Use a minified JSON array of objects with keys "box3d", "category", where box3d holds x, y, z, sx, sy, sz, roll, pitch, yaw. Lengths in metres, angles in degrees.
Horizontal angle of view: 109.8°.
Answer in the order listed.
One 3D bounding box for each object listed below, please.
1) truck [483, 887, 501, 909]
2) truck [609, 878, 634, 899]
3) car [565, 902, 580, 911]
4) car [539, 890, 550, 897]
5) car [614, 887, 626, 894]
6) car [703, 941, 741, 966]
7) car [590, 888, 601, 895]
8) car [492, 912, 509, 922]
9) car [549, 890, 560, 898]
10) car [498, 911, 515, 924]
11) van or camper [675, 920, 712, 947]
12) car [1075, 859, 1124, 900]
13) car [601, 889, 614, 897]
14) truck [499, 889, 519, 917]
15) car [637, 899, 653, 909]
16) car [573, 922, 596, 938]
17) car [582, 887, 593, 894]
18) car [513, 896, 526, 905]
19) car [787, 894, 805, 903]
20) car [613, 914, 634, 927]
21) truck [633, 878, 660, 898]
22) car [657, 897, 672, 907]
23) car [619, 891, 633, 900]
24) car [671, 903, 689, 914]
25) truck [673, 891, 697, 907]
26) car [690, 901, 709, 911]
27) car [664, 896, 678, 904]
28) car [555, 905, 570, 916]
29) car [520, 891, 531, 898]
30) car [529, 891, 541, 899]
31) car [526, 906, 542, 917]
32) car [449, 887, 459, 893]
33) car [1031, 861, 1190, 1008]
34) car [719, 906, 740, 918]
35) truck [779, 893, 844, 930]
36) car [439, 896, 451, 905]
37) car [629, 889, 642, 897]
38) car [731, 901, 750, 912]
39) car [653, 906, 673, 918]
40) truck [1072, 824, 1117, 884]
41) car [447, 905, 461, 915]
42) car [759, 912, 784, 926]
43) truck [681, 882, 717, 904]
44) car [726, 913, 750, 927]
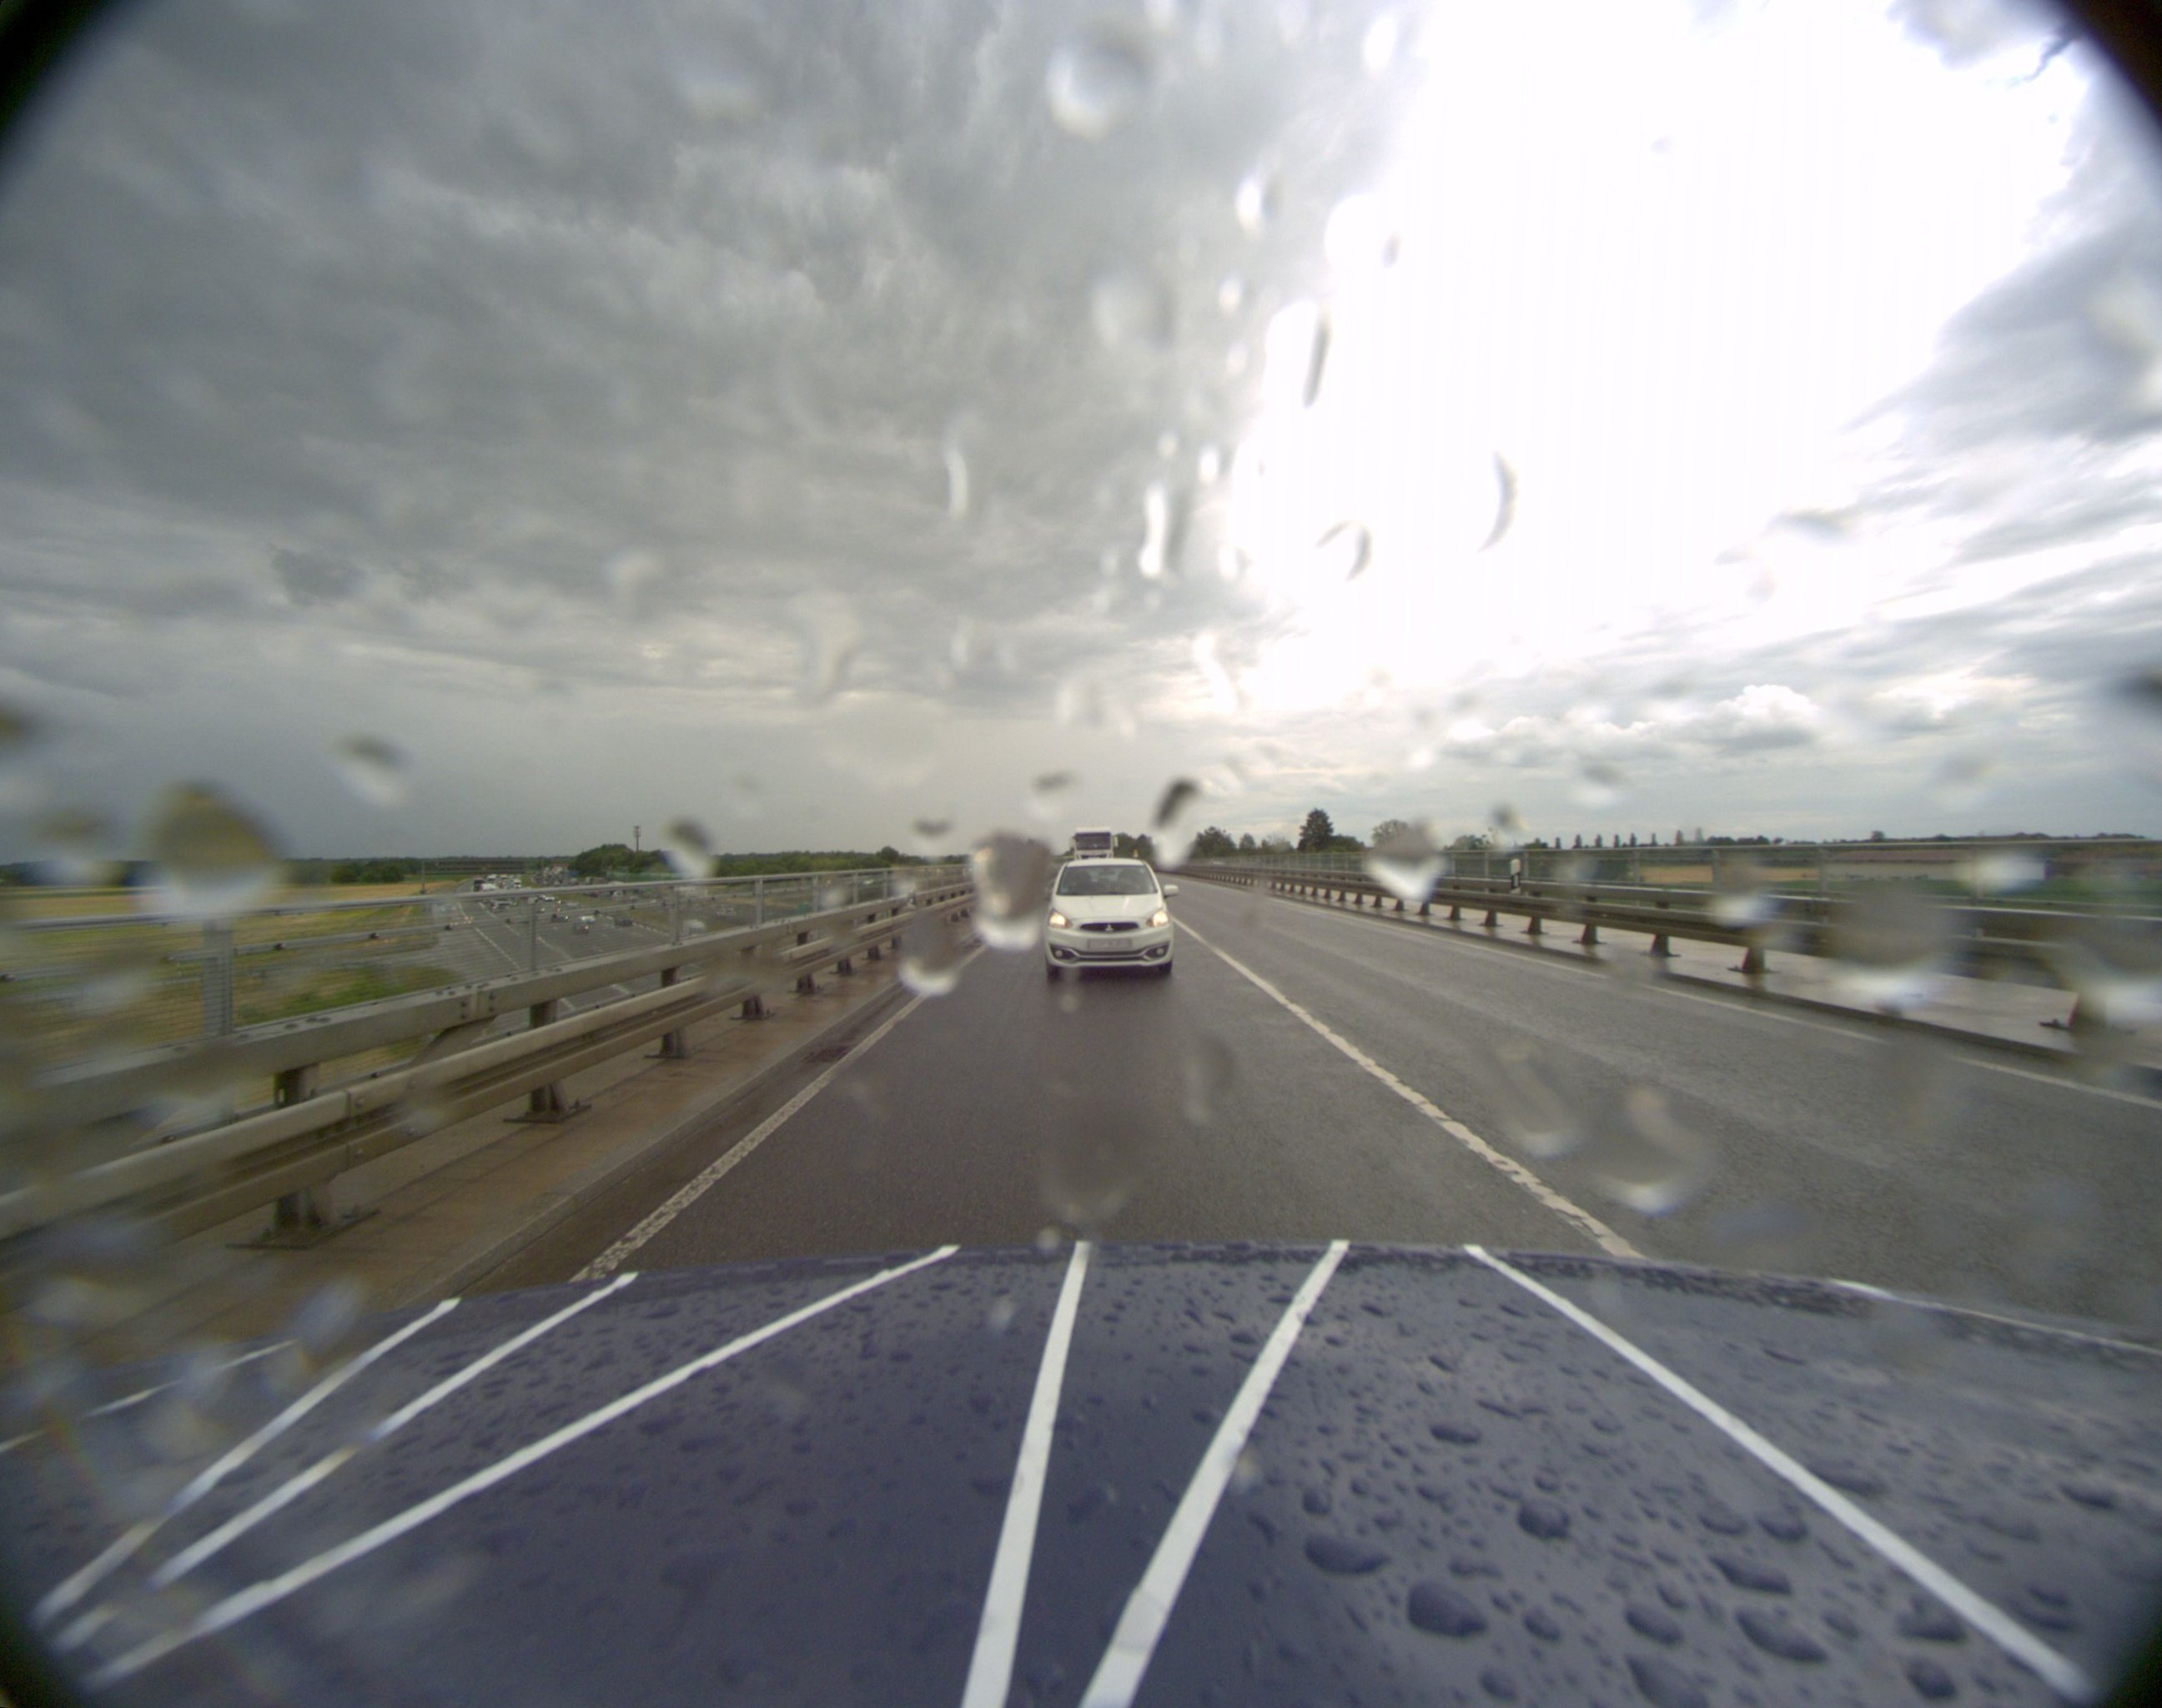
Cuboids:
[{"box3d":[-139.682,10.334,180.271,2.799,4.590,12.724,-3,0,-37],"category":"truck"},{"box3d":[-130.031,9.639,214.712,3.302,5.410,15.588,-3,0,-41],"category":"truck"},{"box3d":[-102.610,10.595,153.351,1.860,1.659,4.712,-2,0,-40],"category":"car"},{"box3d":[-140.093,10.223,198.242,1.860,1.659,4.712,-2,0,-40],"category":"car"},{"box3d":[-117.245,9.254,193.029,1.860,1.764,4.712,-3,0,-40],"category":"car"},{"box3d":[-31.766,8.714,67.104,1.818,1.659,4.712,-3,0,-41],"category":"car"},{"box3d":[-127.089,9.705,198.971,1.860,1.659,4.712,-2,0,-40],"category":"car"},{"box3d":[-97.415,10.518,127.523,1.818,1.427,4.712,-2,0,-41],"category":"car"},{"box3d":[-129.585,9.810,187.053,1.860,1.659,4.712,-2,0,-40],"category":"car"},{"box3d":[-88.867,9.738,117.553,1.860,1.659,4.712,-2,0,-40],"category":"car"},{"box3d":[-44.359,9.025,86.933,2.064,2.436,7.311,-3,0,-40],"category":"van or camper"},{"box3d":[0.666,0.916,28.814,1.675,1.366,4.129,-2,0,1],"category":"car"},{"box3d":[-113.005,9.215,181.355,1.860,1.659,4.712,-2,0,-40],"category":"car"},{"box3d":[-110.310,9.411,146.690,2.799,4.871,12.724,-3,0,-37],"category":"truck"},{"box3d":[-85.790,9.850,149.400,1.860,1.659,4.712,-2,0,-40],"category":"car"},{"box3d":[-63.502,9.727,97.186,1.860,1.659,4.712,-2,0,-40],"category":"car"},{"box3d":[-134.555,9.998,207.204,1.860,1.764,4.712,-3,0,-40],"category":"car"},{"box3d":[-118.463,9.808,160.415,1.860,1.659,4.712,-2,0,-40],"category":"car"},{"box3d":[-56.975,8.906,151.663,1.860,1.659,4.712,-2,0,-40],"category":"car"},{"box3d":[-67.163,9.740,111.615,1.860,1.659,4.712,-2,0,-40],"category":"car"},{"box3d":[-119.026,9.309,208.154,3.302,5.134,15.588,-3,0,-41],"category":"truck"},{"box3d":[-86.695,9.966,158.164,1.860,1.659,4.712,-2,0,-40],"category":"car"},{"box3d":[-100.376,9.164,167.639,1.860,1.659,4.712,-2,0,-40],"category":"car"},{"box3d":[-69.546,9.435,131.724,1.860,1.659,4.712,-2,0,-40],"category":"car"},{"box3d":[-80.131,9.090,153.731,2.216,2.948,9.284,-3,0,-40],"category":"truck"},{"box3d":[-69.043,9.368,137.476,1.860,1.659,4.712,-2,0,-40],"category":"car"},{"box3d":[-90.190,10.094,167.151,1.860,1.659,4.712,-2,0,-40],"category":"car"},{"box3d":[-94.176,10.303,137.994,1.860,1.659,4.712,-2,0,-40],"category":"car"},{"box3d":[-137.879,10.057,188.538,1.860,1.659,4.712,-2,0,-40],"category":"car"},{"box3d":[-129.927,9.770,180.764,1.860,1.659,4.712,-2,0,-40],"category":"car"},{"box3d":[-97.192,10.286,135.055,1.860,1.659,4.712,-2,0,-40],"category":"car"},{"box3d":[-158.982,9.075,192.655,1.818,1.427,4.712,-2,0,-41],"category":"car"},{"box3d":[0.339,0.889,10.280,1.675,1.476,4.129,-2,0,1],"category":"car"},{"box3d":[-56.445,9.287,122.030,1.860,1.659,4.712,-2,0,-40],"category":"car"},{"box3d":[-38.688,8.026,108.506,3.611,4.511,15.589,-3,0,-39],"category":"truck"},{"box3d":[-139.331,10.137,166.471,1.860,1.659,4.712,-2,0,-40],"category":"car"},{"box3d":[-103.759,9.169,176.925,1.860,1.659,4.712,-2,0,-40],"category":"car"},{"box3d":[-59.906,9.150,133.596,1.860,1.659,4.712,-2,0,-40],"category":"car"},{"box3d":[-67.959,9.438,123.560,1.860,1.659,4.712,-2,0,-40],"category":"car"},{"box3d":[0.790,-0.147,50.408,2.631,3.537,8.474,-2,2,0],"category":"truck"},{"box3d":[-113.811,10.112,137.902,1.818,1.427,4.712,-2,0,-41],"category":"car"},{"box3d":[-43.815,9.135,107.501,1.860,1.659,4.712,-2,0,-40],"category":"car"},{"box3d":[-83.743,8.433,166.403,3.611,4.511,15.589,-3,0,-39],"category":"truck"},{"box3d":[-47.755,9.193,105.766,1.860,1.659,4.712,-2,0,-40],"category":"car"}]
